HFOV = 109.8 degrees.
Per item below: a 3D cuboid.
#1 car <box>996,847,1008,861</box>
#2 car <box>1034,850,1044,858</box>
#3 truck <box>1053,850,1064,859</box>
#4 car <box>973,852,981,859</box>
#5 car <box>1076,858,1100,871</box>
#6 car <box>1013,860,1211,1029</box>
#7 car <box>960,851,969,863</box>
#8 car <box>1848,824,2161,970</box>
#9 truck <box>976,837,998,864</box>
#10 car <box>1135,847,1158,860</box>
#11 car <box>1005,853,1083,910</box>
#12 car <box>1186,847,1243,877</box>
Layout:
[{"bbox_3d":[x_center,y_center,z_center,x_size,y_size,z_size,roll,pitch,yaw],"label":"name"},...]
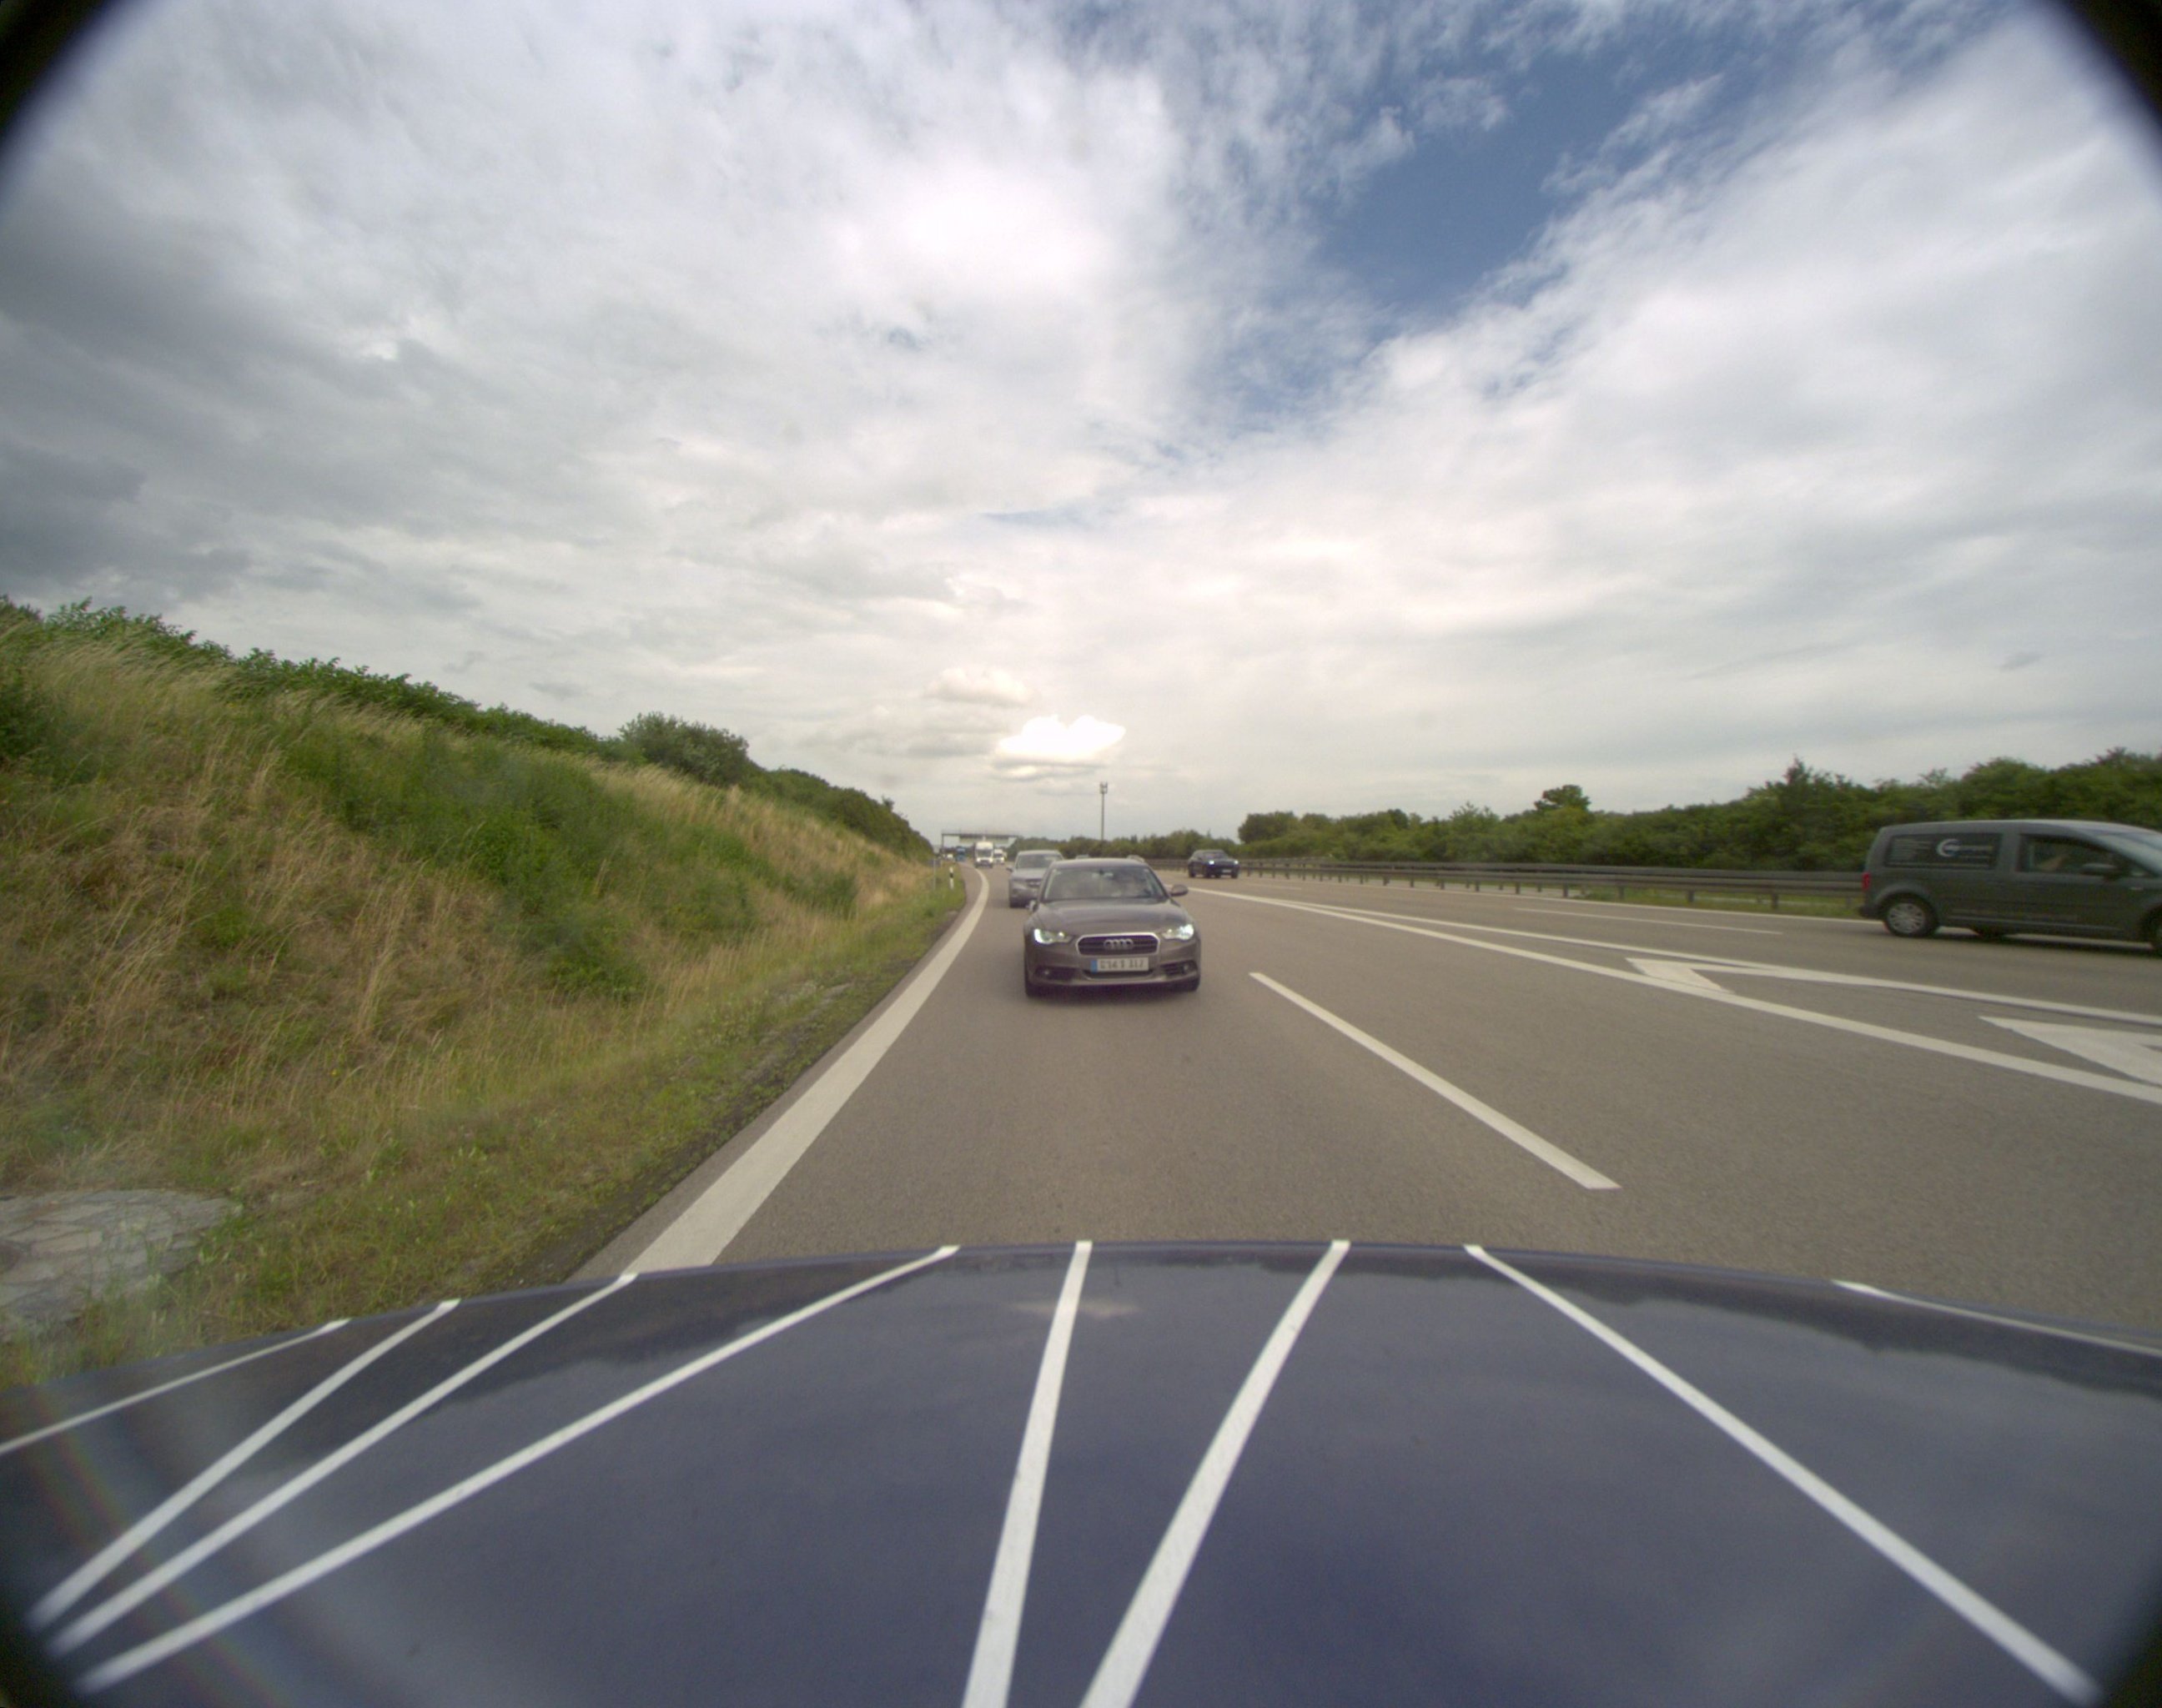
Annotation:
[{"bbox_3d":[-13.807,-0.055,132.235,2.000,2.381,3.997,-2,1,-7],"label":"car"},{"bbox_3d":[-12.753,0.032,231.057,2.170,2.317,6.671,-1,0,-9],"label":"car"},{"bbox_3d":[-5.309,0.174,179.728,2.000,2.002,4.715,-1,0,-9],"label":"truck"},{"bbox_3d":[-28.962,0.314,212.036,2.000,2.002,3.996,0,0,-9],"label":"car"},{"bbox_3d":[0.795,1.195,88.815,2.000,1.501,4.774,0,0,-10],"label":"car"},{"bbox_3d":[0.224,0.868,9.196,1.849,1.489,4.027,-1,0,-2],"label":"car"},{"bbox_3d":[-36.721,1.017,239.065,2.506,3.689,7.695,0,0,-9],"label":"car"},{"bbox_3d":[13.684,0.506,10.320,1.851,1.748,4.332,-1,0,-9],"label":"car"},{"bbox_3d":[-11.663,-0.387,93.788,2.450,3.216,7.185,-1,0,-9],"label":"truck"},{"bbox_3d":[8.718,-0.029,101.070,2.000,1.674,3.996,0,0,-11],"label":"car"},{"bbox_3d":[-1.200,0.751,22.933,2.000,1.567,3.997,0,0,-8],"label":"car"},{"bbox_3d":[8.008,0.436,46.179,2.000,1.733,4.825,0,0,-8],"label":"car"}]
